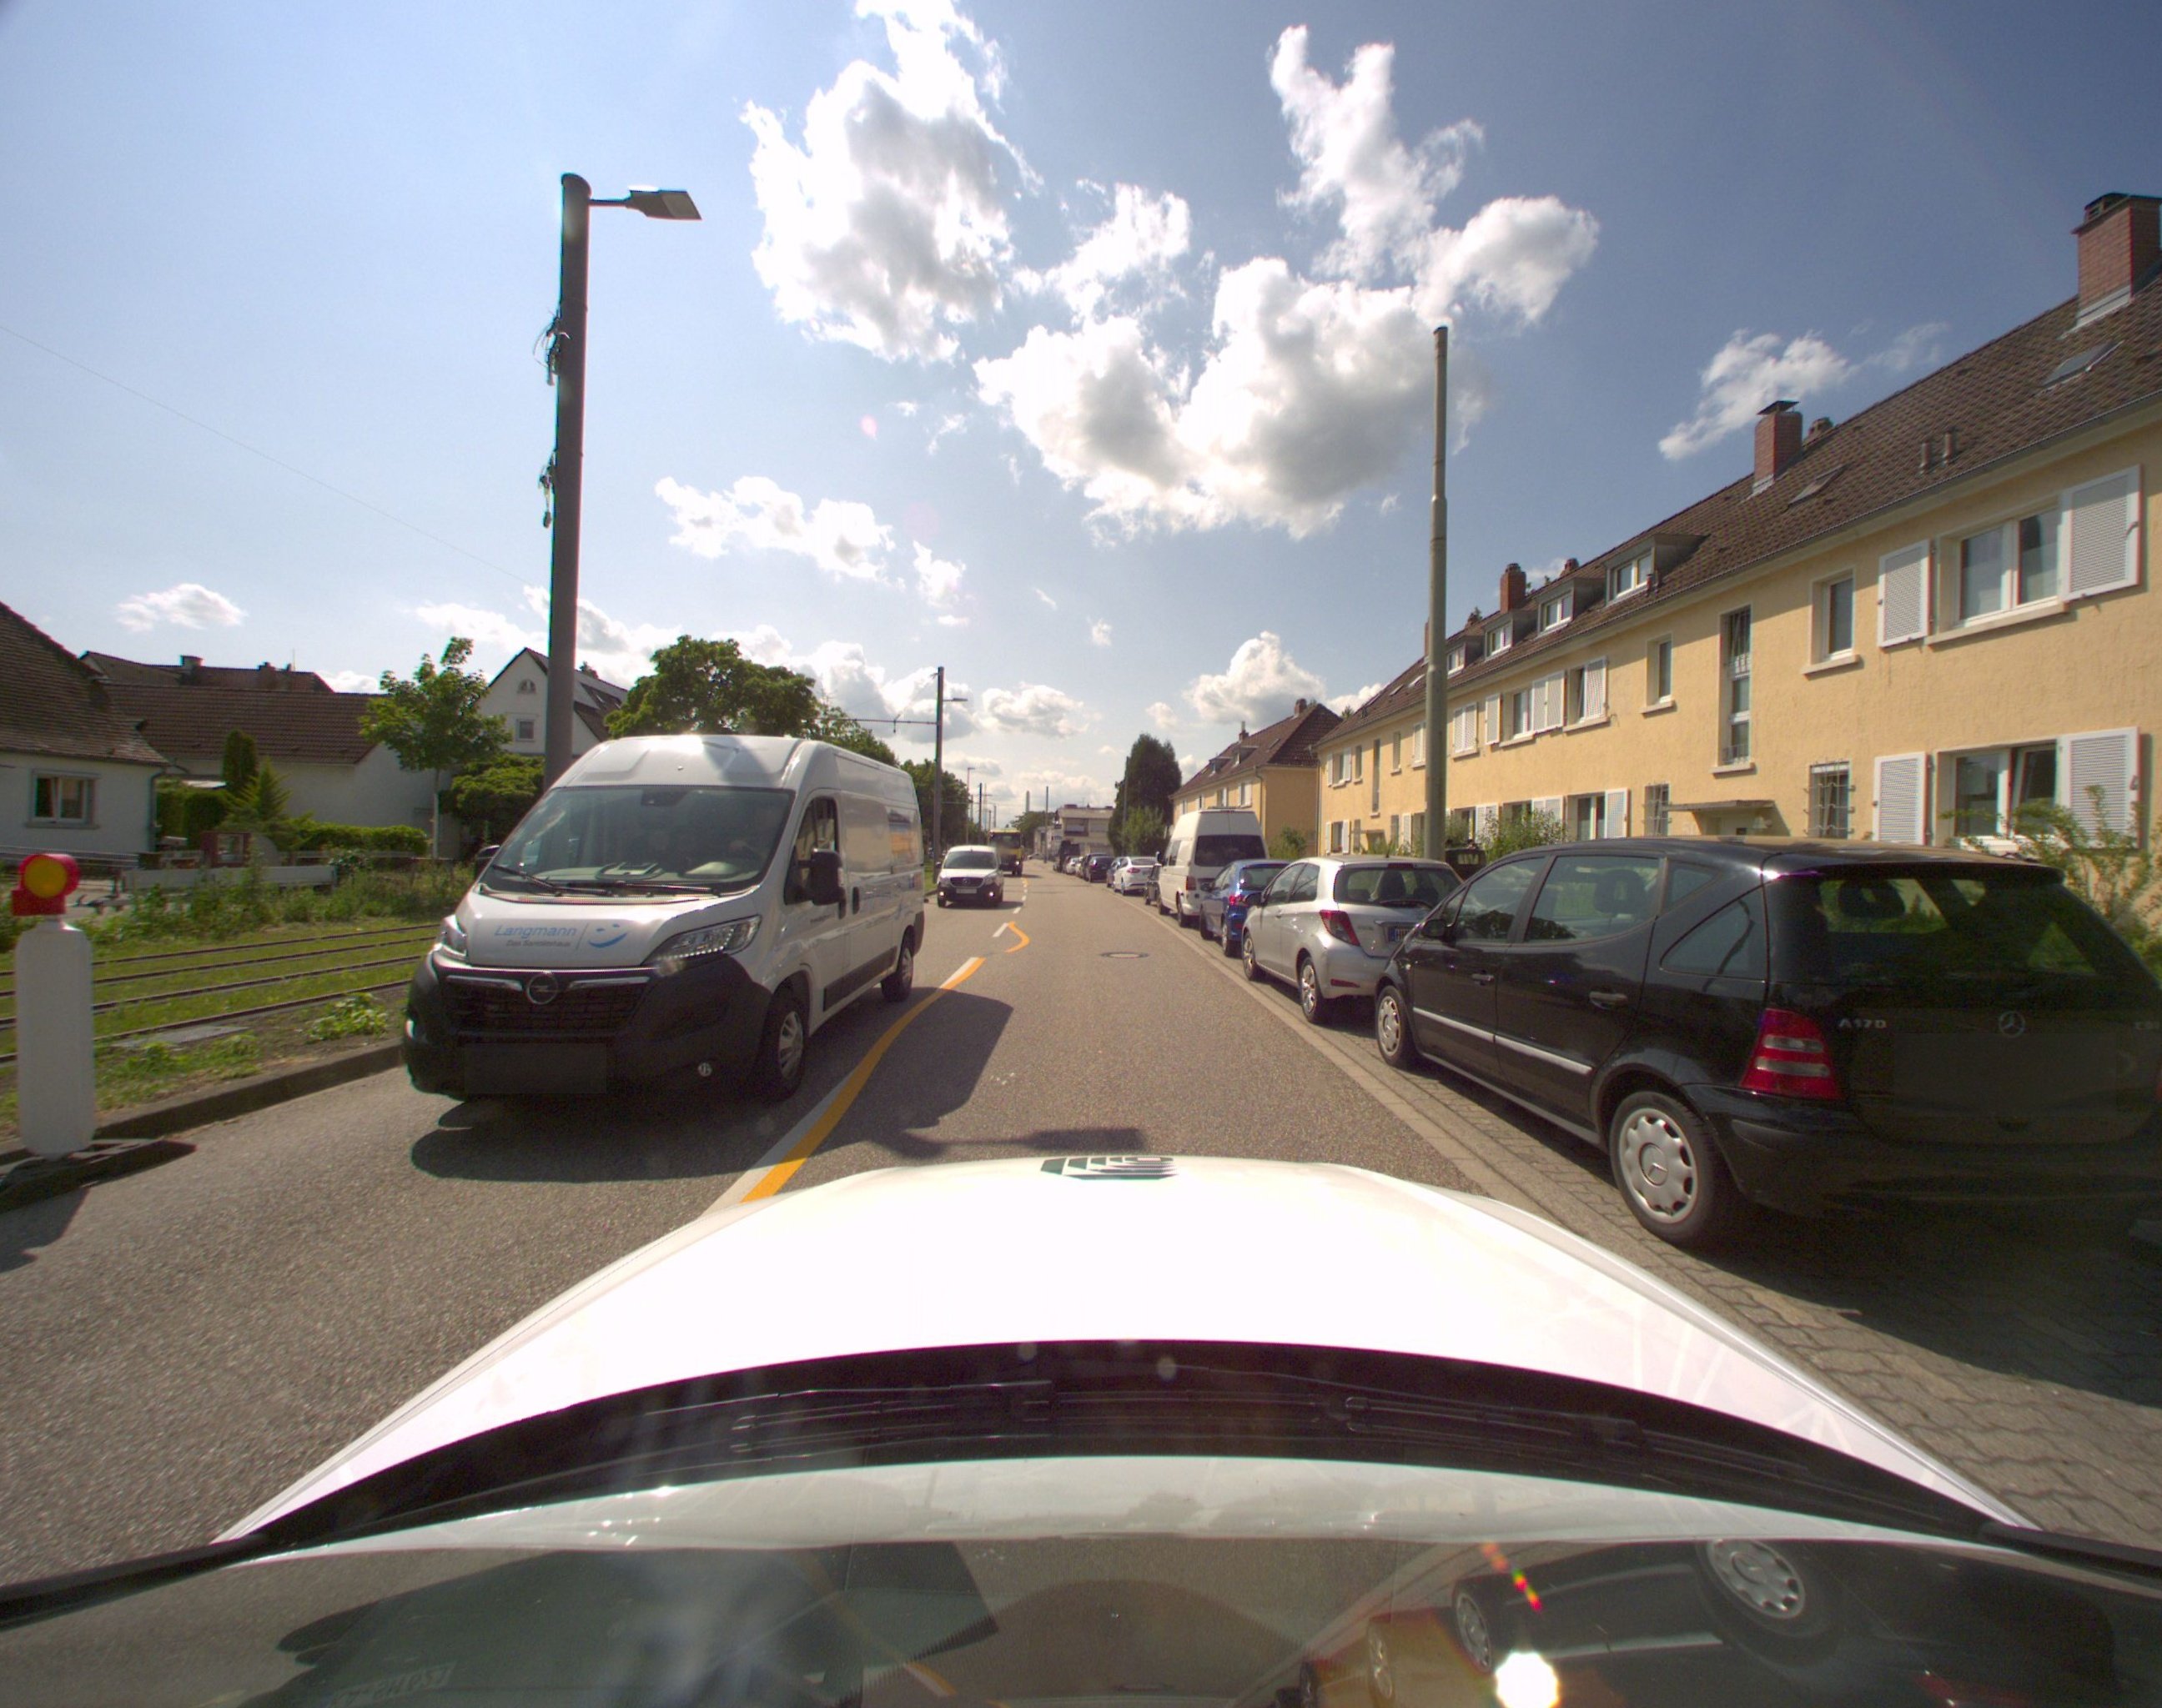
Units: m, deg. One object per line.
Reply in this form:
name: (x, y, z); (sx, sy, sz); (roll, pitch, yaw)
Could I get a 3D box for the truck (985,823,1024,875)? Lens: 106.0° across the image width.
truck: (-5.426, -0.360, 58.075); (2.556, 3.459, 7.136); (-1, 0, -5)

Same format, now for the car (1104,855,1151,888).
car: (2.052, 0.754, 37.031); (1.618, 1.417, 3.993); (-1, 0, -5)

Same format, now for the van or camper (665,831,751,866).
van or camper: (-35.044, -0.477, 76.679); (6.872, 3.126, 2.438); (1, 0, -6)

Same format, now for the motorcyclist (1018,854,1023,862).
motorcyclist: (-11.895, 0.796, 160.537); (0.882, 1.667, 1.107); (1, 0, -6)

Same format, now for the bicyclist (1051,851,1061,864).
bicyclist: (-2.945, 0.383, 95.988); (0.994, 1.569, 1.137); (1, 0, -8)

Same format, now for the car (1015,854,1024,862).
car: (-12.519, 0.811, 165.682); (1.566, 1.498, 4.139); (1, 0, -7)

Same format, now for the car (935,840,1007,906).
car: (-3.247, 0.522, 24.782); (1.730, 1.773, 4.305); (1, 0, -2)

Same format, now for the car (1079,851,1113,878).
car: (0.886, 0.622, 50.992); (1.761, 1.643, 3.993); (-1, 0, -5)

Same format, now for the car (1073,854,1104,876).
car: (0.496, 0.725, 55.883); (1.761, 1.477, 3.993); (-1, 0, -5)

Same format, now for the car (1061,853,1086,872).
car: (-0.620, 0.648, 67.090); (1.761, 1.502, 3.993); (-1, 0, -5)

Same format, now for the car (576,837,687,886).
car: (-16.406, 0.243, 30.003); (1.691, 1.637, 4.563); (-1, 0, -3)

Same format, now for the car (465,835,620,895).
car: (-15.837, 0.286, 24.299); (1.807, 1.586, 4.561); (-1, 0, -4)

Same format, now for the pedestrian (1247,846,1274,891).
pedestrian: (6.755, 0.540, 30.651); (0.851, 1.652, 0.637); (1, 0, 0)

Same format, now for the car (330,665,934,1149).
car: (-2.791, 0.279, 6.965); (2.096, 2.443, 5.568); (1, 0, -1)

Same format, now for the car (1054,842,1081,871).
car: (-1.250, 0.227, 73.277); (1.957, 2.478, 6.048); (-1, 0, -6)

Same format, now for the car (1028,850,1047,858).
car: (-10.809, -0.060, 203.380); (4.642, 1.823, 1.829); (1, 0, -10)

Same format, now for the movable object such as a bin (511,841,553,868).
movable object such as a bin: (-27.681, 0.017, 41.060); (1.356, 1.329, 1.088); (1, 0, -3)

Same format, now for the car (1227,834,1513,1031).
car: (2.764, 0.649, 8.782); (1.631, 1.602, 4.028); (1, 0, 0)

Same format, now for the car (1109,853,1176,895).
car: (2.303, 0.738, 31.554); (1.796, 1.458, 4.756); (-1, 0, -5)

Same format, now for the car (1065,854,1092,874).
car: (-0.211, 0.728, 62.064); (1.761, 1.439, 3.993); (-1, 0, -5)

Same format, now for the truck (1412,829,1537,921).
truck: (7.867, 0.401, 16.466); (1.342, 1.688, 2.440); (1, 0, -1)

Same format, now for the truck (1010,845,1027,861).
truck: (-14.024, -0.107, 182.758); (3.218, 3.402, 11.327); (1, 0, -7)

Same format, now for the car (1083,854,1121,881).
car: (1.137, 0.747, 45.890); (1.761, 1.417, 3.993); (-1, 0, -5)

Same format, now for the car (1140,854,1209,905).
car: (2.650, 0.713, 23.657); (1.339, 1.340, 3.281); (1, -1, -5)

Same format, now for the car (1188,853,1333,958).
car: (2.795, 0.728, 13.408); (1.531, 1.445, 3.736); (1, 0, 0)

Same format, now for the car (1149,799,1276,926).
car: (2.824, 0.168, 18.776); (1.924, 2.481, 5.514); (0, 0, -1)

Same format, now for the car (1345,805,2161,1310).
car: (3.011, 0.656, 4.590); (1.632, 1.602, 3.928); (1, 0, -2)
